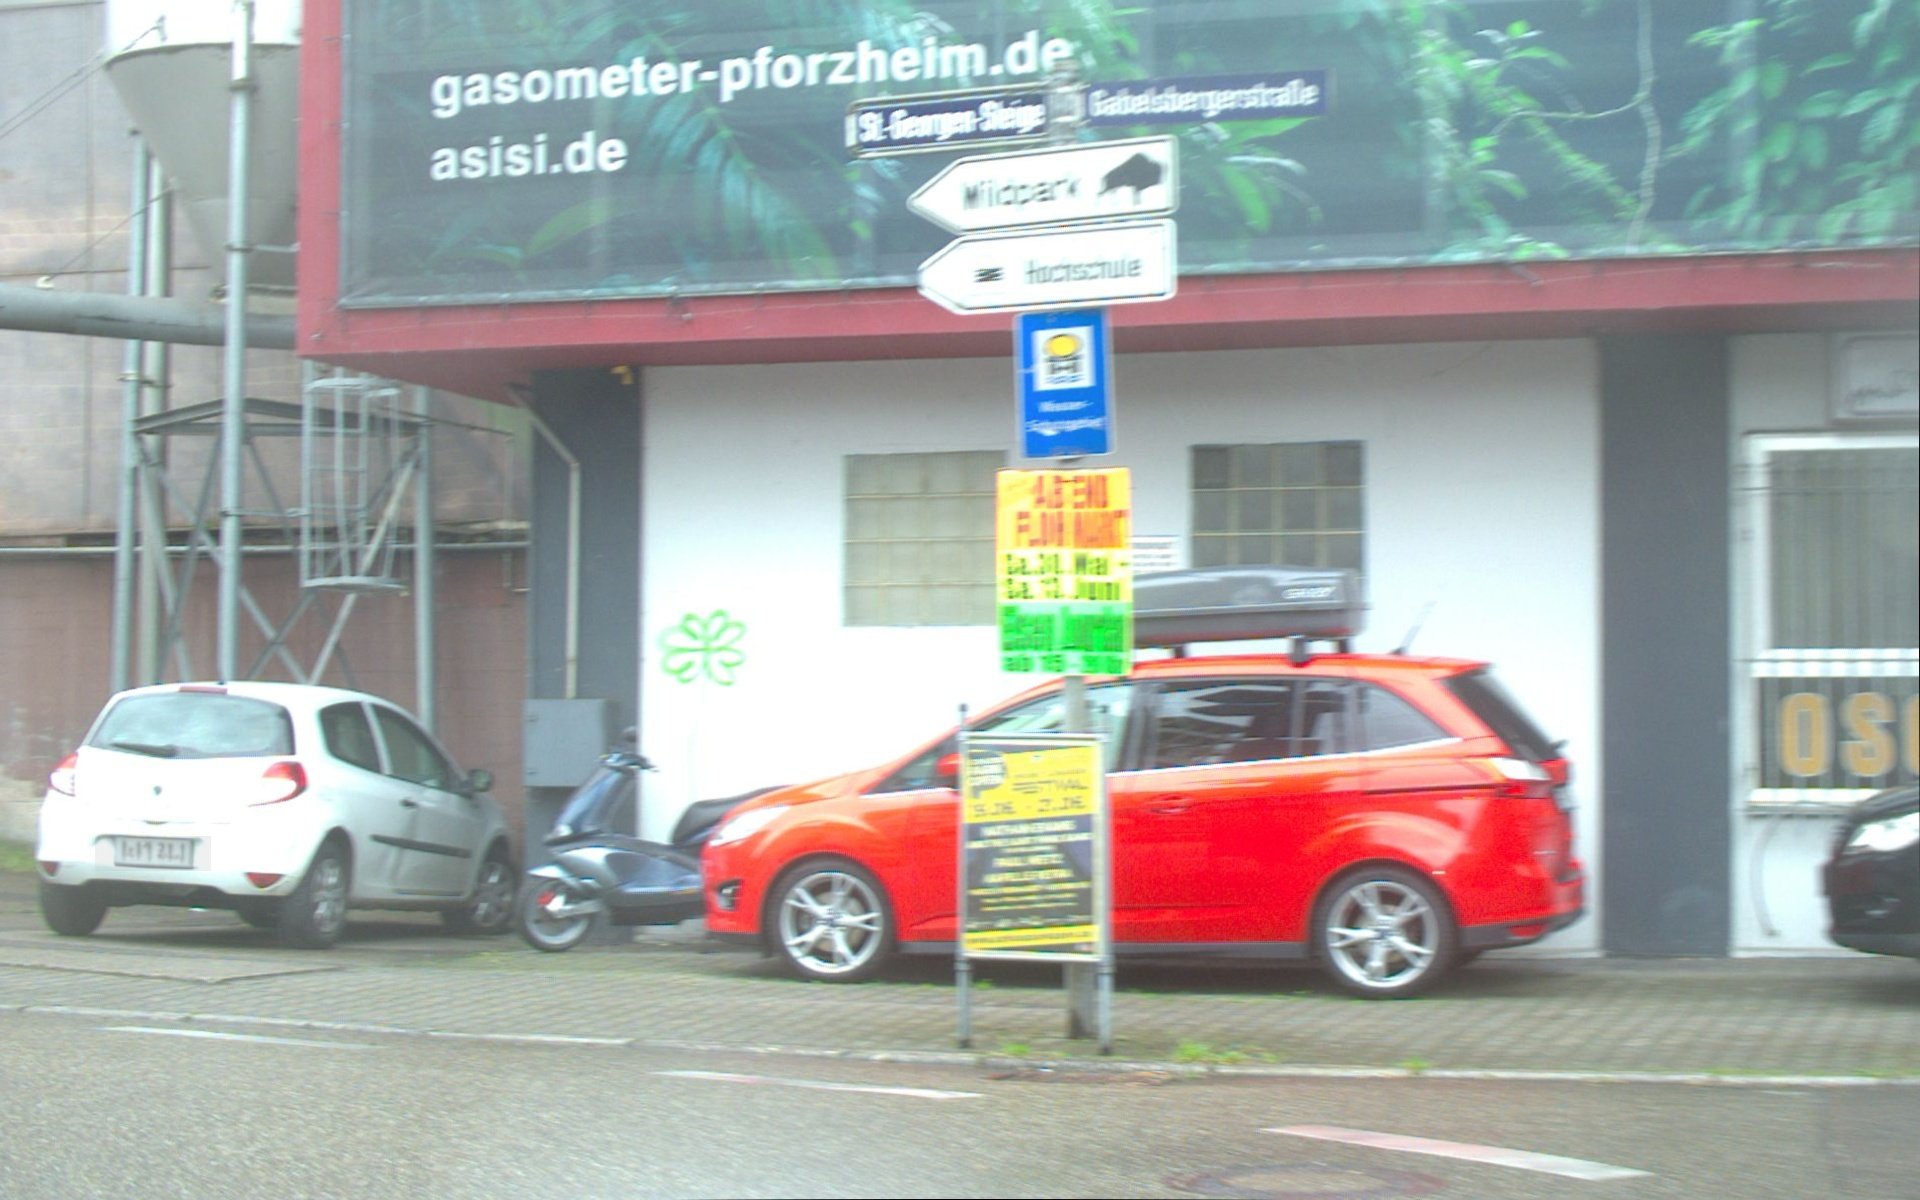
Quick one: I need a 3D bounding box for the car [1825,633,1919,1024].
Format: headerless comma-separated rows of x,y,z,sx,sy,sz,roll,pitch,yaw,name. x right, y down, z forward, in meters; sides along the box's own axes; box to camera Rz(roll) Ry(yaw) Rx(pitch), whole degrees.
6.033,0.966,15.478,3.990,1.706,1.931,-2,-1,18,car

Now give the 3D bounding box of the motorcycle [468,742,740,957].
-1.961,1.368,19.001,1.419,1.157,0.452,0,-3,5,motorcycle

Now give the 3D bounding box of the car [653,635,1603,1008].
0.890,1.051,17.498,4.481,1.706,1.931,0,-1,18,car

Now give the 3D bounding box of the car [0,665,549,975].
-4.080,1.232,20.759,1.870,1.528,3.990,0,1,14,car
